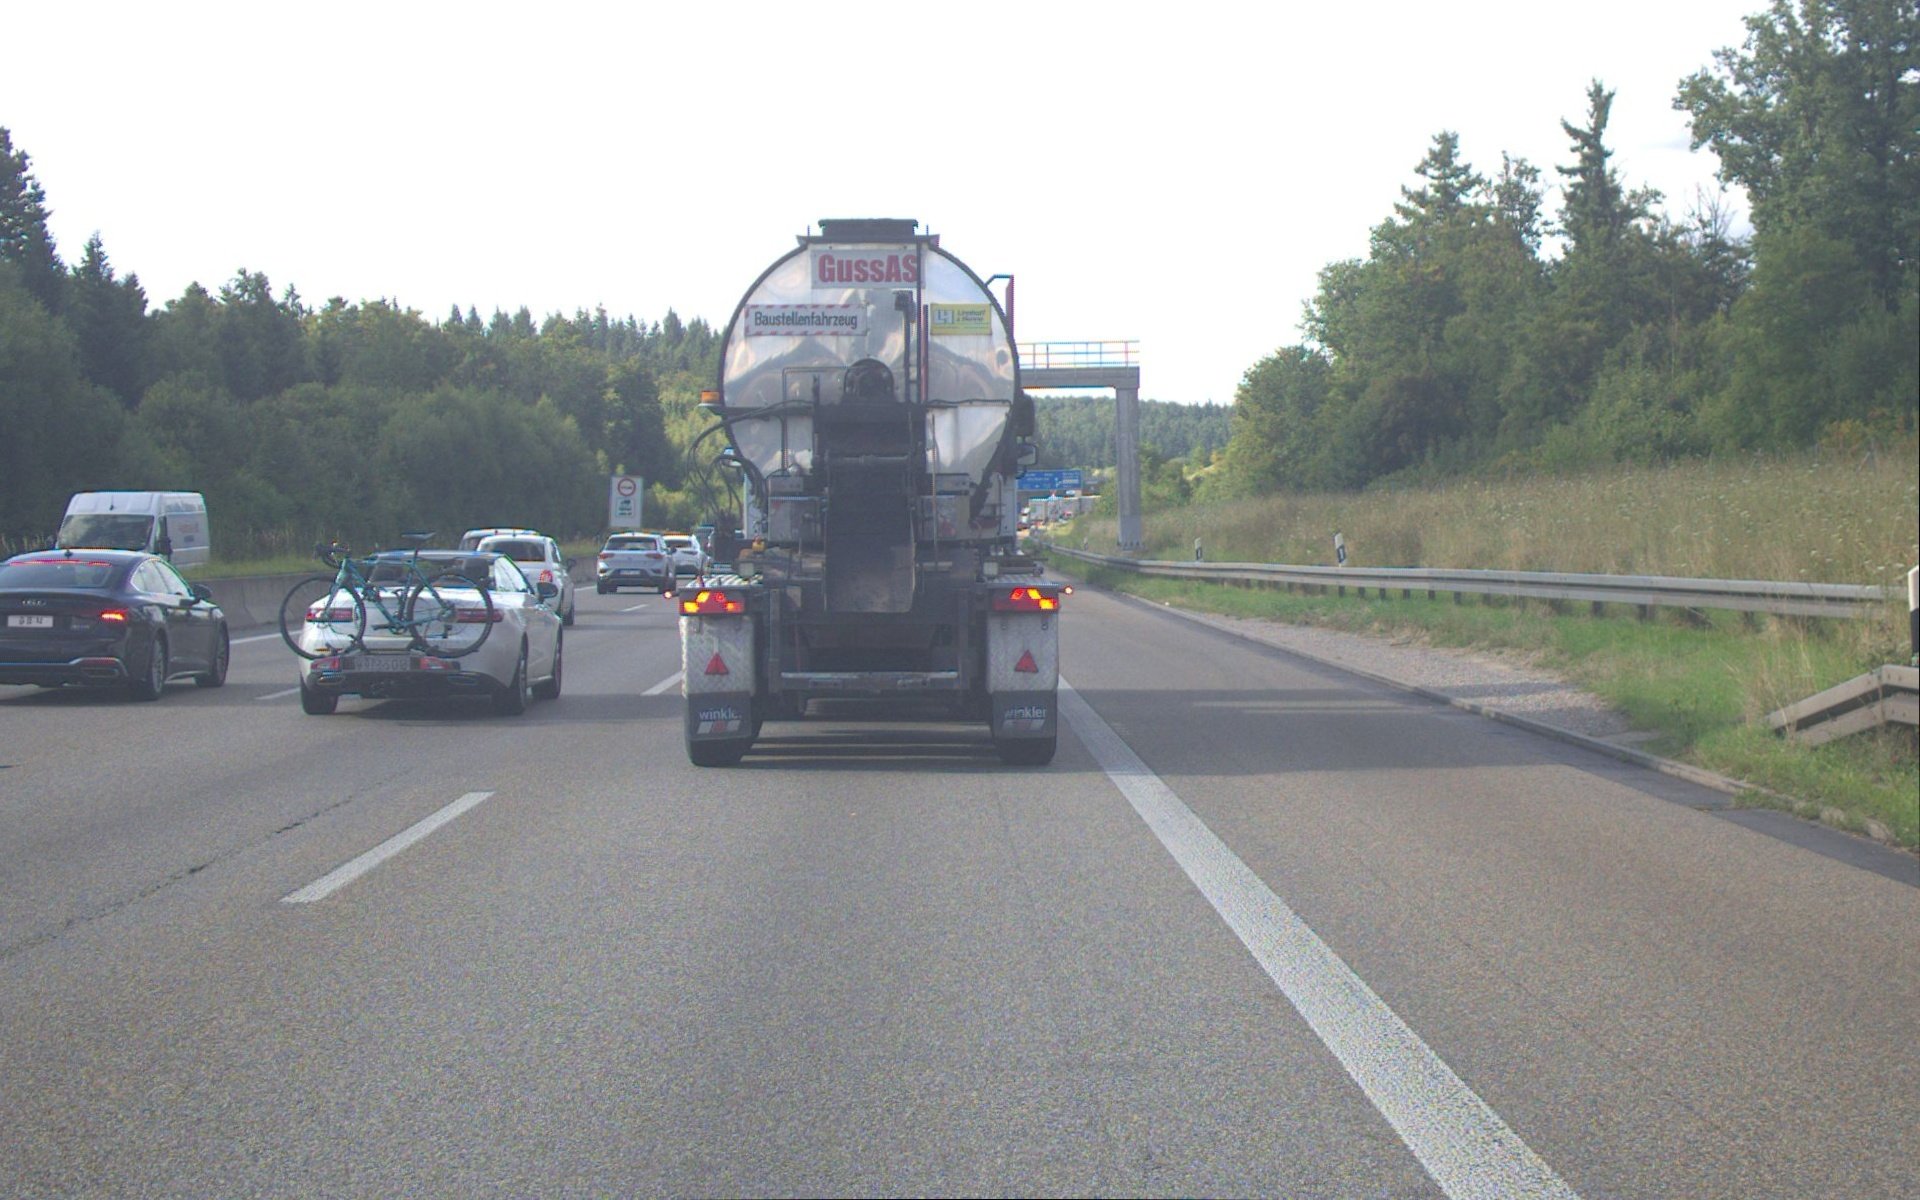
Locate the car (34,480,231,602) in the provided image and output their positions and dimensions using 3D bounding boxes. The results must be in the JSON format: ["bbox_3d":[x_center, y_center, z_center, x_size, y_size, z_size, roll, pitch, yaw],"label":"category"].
[{"bbox_3d":[-16.540,-1.194,69.059,2.579,2.338,5.829,0,1,0],"label":"car"}]

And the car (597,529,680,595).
[{"bbox_3d":[-8.225,-1.002,88.208,1.806,1.580,4.207,0,2,-1],"label":"car"}]

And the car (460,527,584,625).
[{"bbox_3d":[-7.105,-0.412,56.056,1.618,1.539,3.520,0,1,-1],"label":"car"}]

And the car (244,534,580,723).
[{"bbox_3d":[-4.663,0.168,30.121,2.060,1.494,5.736,0,1,0],"label":"car"}]

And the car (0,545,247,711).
[{"bbox_3d":[-8.124,0.208,32.354,1.856,1.426,4.841,0,1,0],"label":"car"}]

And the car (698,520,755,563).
[{"bbox_3d":[-8.959,-2.259,132.269,1.942,1.580,4.207,0,2,-1],"label":"car"}]

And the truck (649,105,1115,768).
[{"bbox_3d":[-0.508,-1.143,27.143,2.912,4.143,11.270,0,1,0],"label":"truck"}]

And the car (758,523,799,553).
[{"bbox_3d":[-9.287,-3.195,176.305,1.942,1.451,4.207,0,2,-1],"label":"car"}]

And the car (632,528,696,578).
[{"bbox_3d":[-9.732,-1.565,113.332,1.806,1.580,4.207,0,2,-1],"label":"car"}]
